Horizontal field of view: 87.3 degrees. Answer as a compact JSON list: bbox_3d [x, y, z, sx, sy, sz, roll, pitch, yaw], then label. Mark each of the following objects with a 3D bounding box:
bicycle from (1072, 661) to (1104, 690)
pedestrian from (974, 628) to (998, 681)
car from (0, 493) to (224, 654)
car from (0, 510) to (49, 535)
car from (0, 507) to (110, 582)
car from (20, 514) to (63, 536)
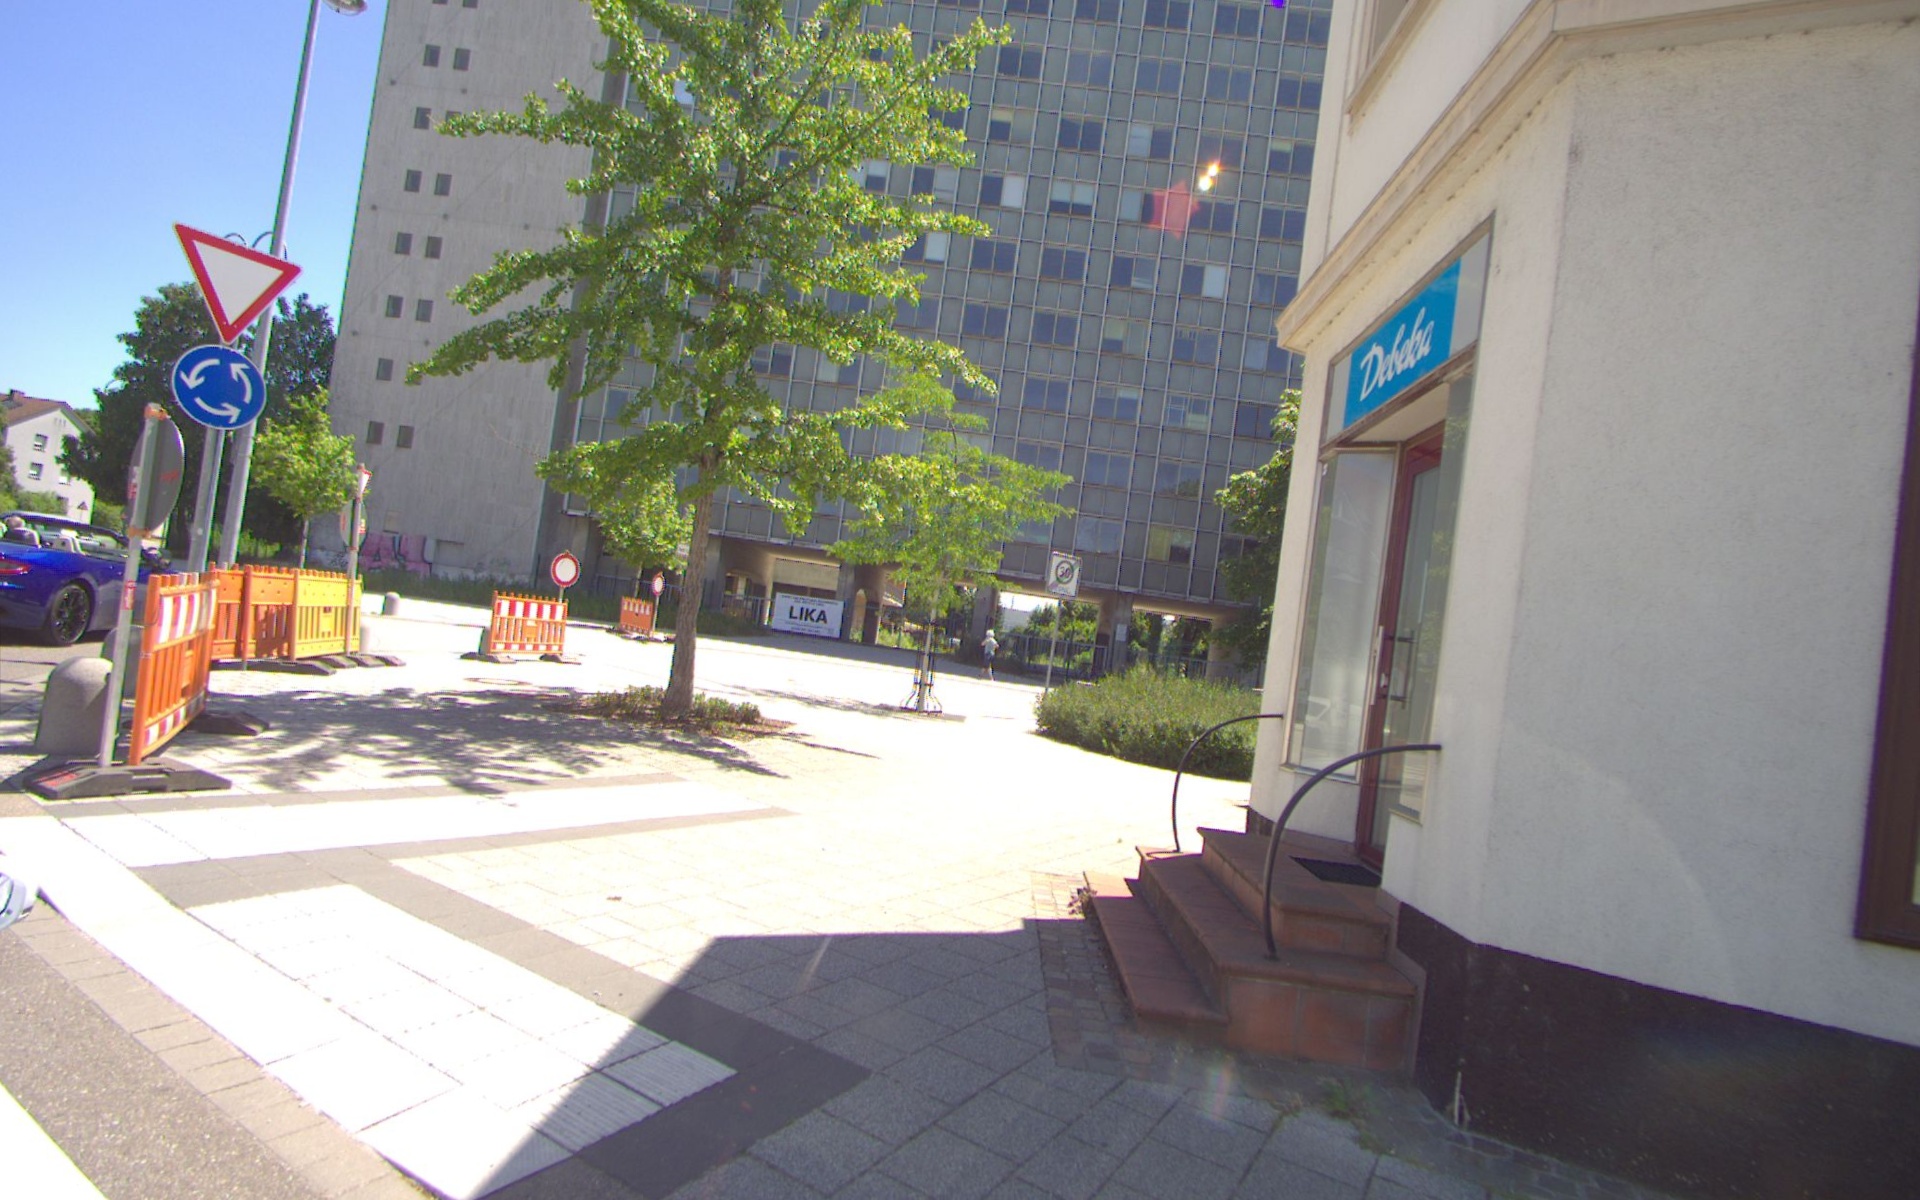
[{"bbox_3d":[4.858,2.875,38.392,0.442,0.917,1.749,8,-2,-16],"label":"bicycle"},{"bbox_3d":[0.896,1.869,34.586,0.555,1.730,0.487,7,1,10],"label":"pedestrian"},{"bbox_3d":[-10.698,-0.265,11.708,1.849,1.546,4.499,8,-5,-16],"label":"car"},{"bbox_3d":[-69.456,-5.702,74.664,1.725,1.453,3.684,7,-1,-29],"label":"car"},{"bbox_3d":[-22.015,-1.384,23.804,3.649,1.453,1.741,6,-1,31],"label":"car"},{"bbox_3d":[-77.062,-6.271,84.435,1.725,1.453,3.684,7,-1,-29],"label":"car"}]
